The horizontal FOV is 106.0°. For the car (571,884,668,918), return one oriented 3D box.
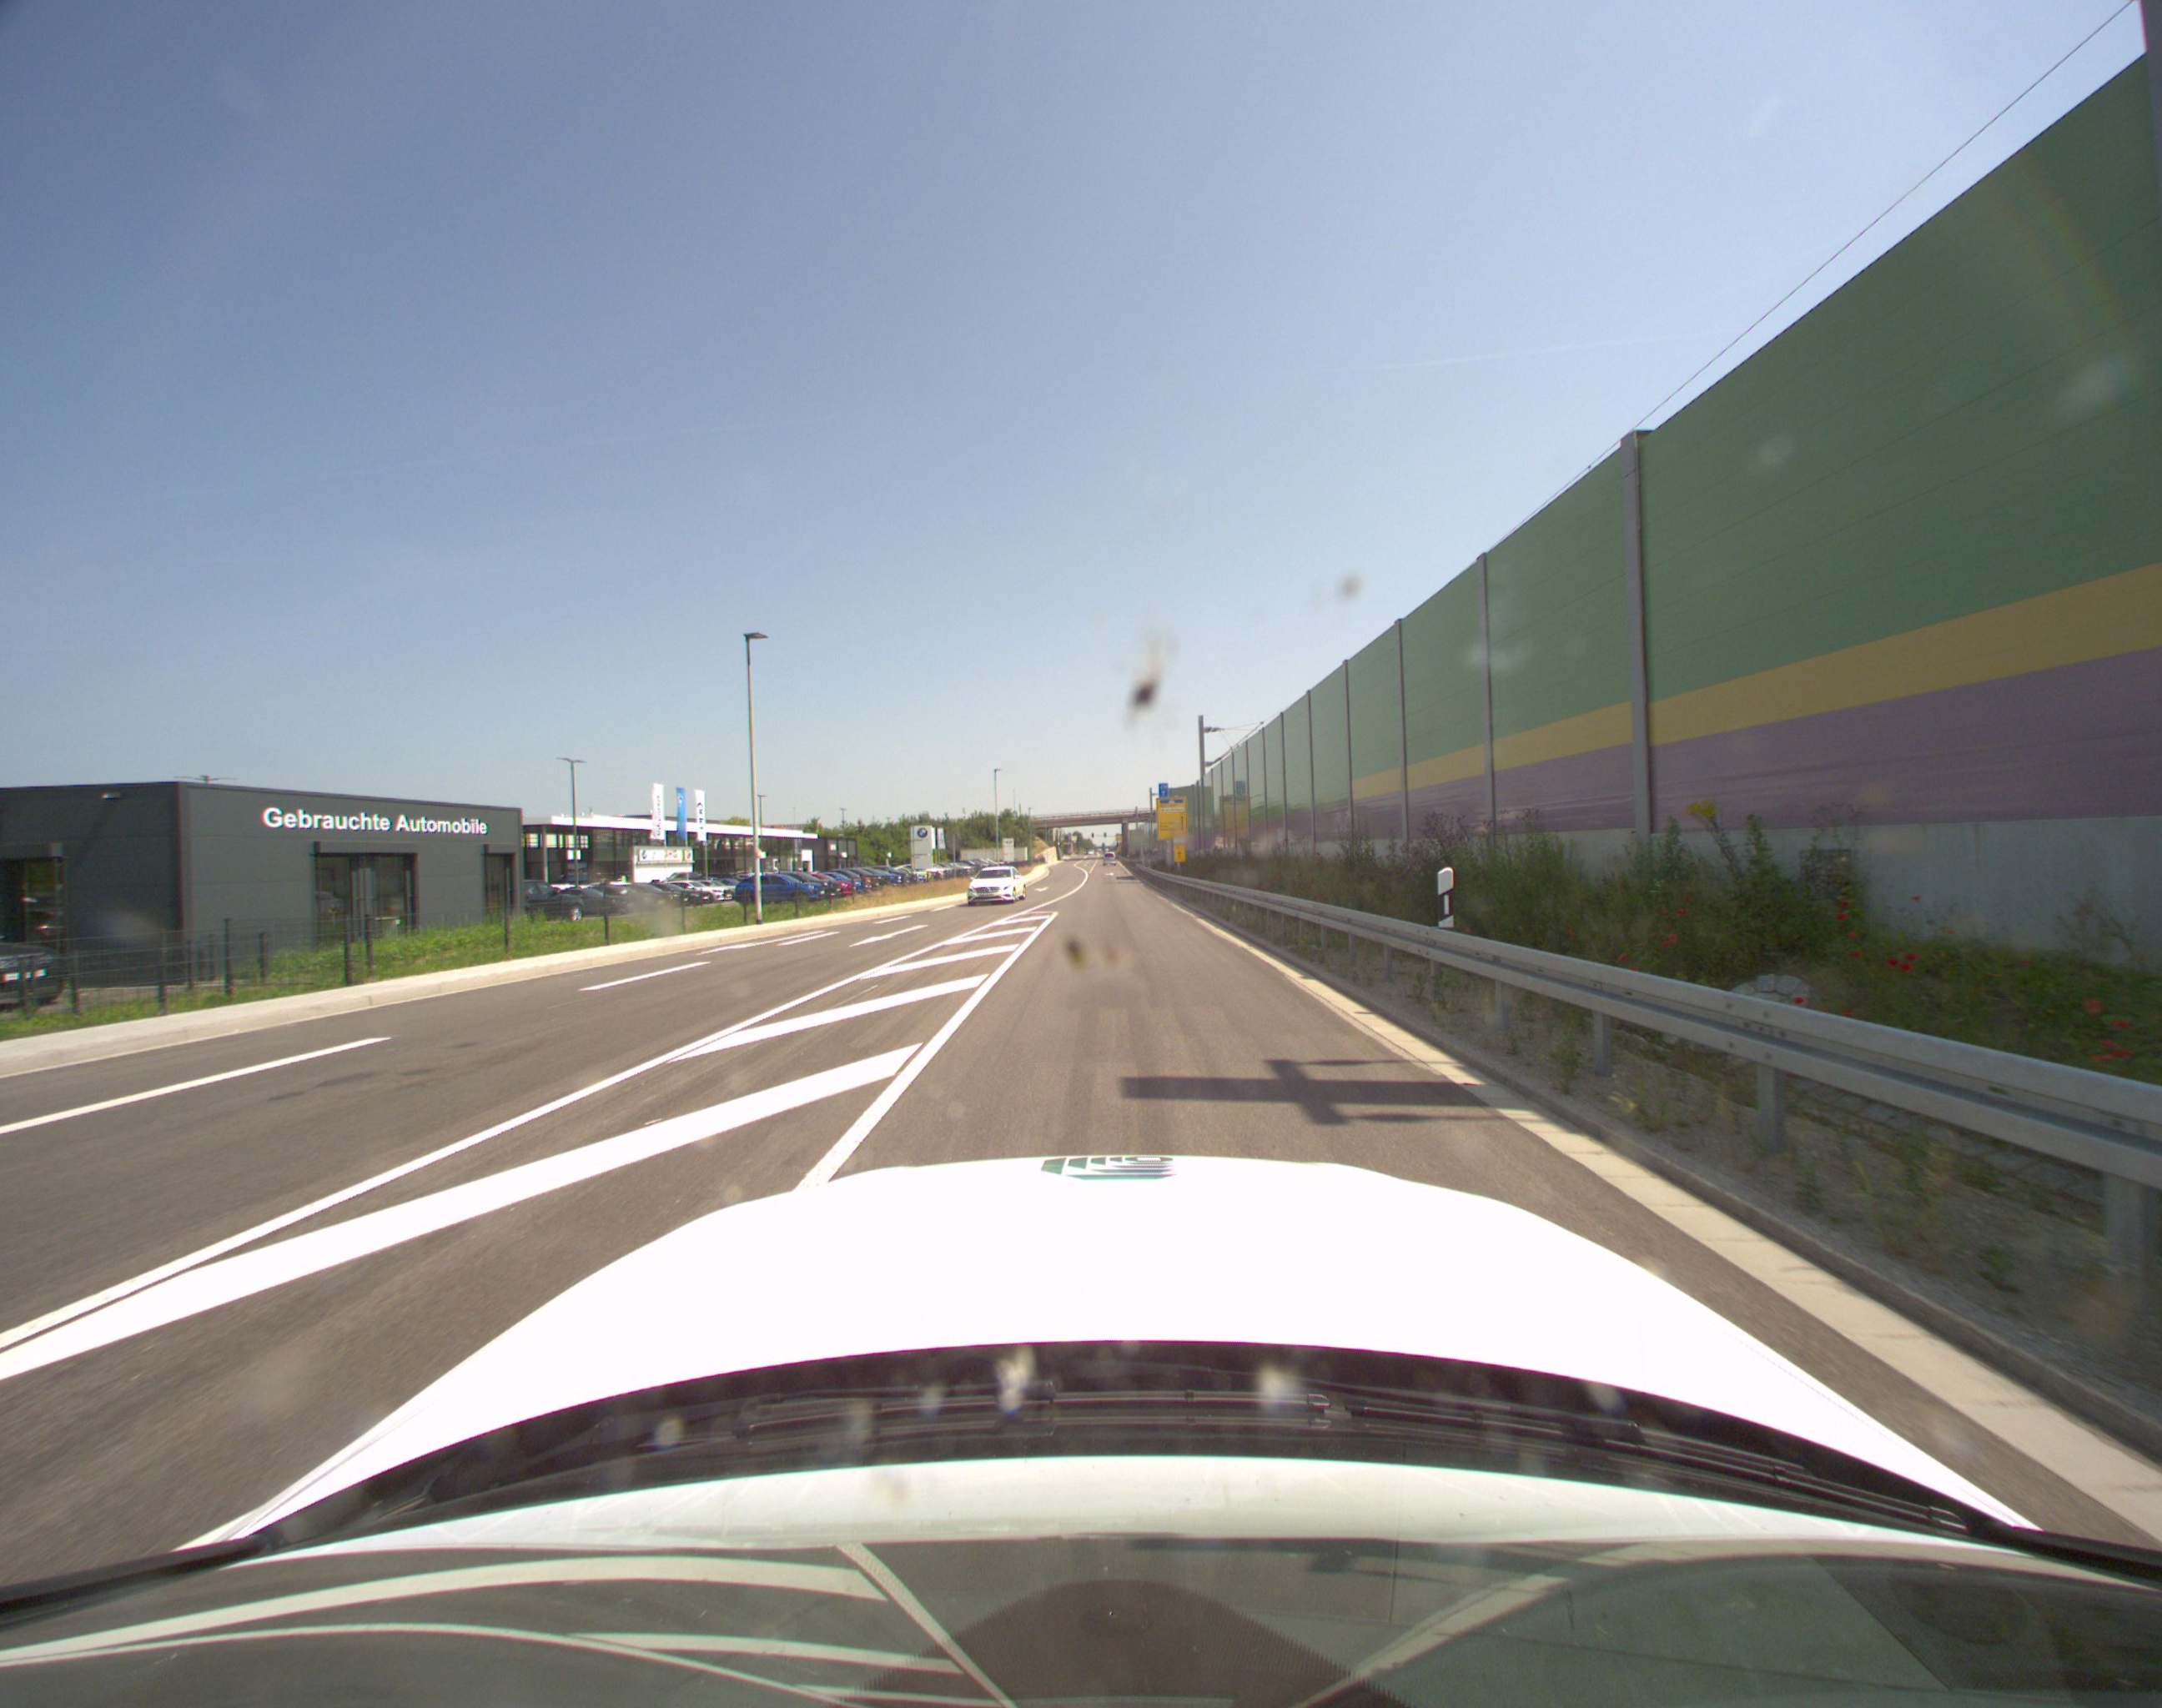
[{"bbox_3d":[-24.090,2.436,42.624,3.974,1.480,1.815,-3,1,-1],"label":"car"}]

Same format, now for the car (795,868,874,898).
[{"bbox_3d":[-14.348,1.671,47.607,3.974,1.445,1.786,-3,1,-1],"label":"car"}]

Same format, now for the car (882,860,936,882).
[{"bbox_3d":[-14.340,1.417,67.963,3.972,1.534,1.816,-3,1,1],"label":"car"}]

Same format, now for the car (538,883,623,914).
[{"bbox_3d":[-30.275,2.674,49.341,3.978,1.593,1.676,-3,1,-3],"label":"car"}]

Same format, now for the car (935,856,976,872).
[{"bbox_3d":[-13.762,1.123,89.427,4.148,1.545,1.816,-3,1,1],"label":"car"}]

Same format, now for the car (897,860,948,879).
[{"bbox_3d":[-14.252,1.345,73.449,4.148,1.466,1.816,-3,1,1],"label":"car"}]

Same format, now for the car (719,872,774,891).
[{"bbox_3d":[-30.135,2.457,73.399,4.148,1.466,1.816,-3,1,1],"label":"car"}]

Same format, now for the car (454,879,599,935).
[{"bbox_3d":[-20.054,1.859,29.771,1.948,1.738,4.751,-3,-1,0],"label":"car"}]

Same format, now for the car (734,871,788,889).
[{"bbox_3d":[-29.836,2.410,76.001,4.148,1.466,1.816,-3,1,1],"label":"car"}]

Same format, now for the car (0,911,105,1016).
[{"bbox_3d":[-20.098,1.967,14.051,4.136,1.631,1.822,-3,1,-1],"label":"car"}]

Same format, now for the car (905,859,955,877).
[{"bbox_3d":[-14.111,1.303,76.245,4.148,1.466,1.816,-3,1,1],"label":"car"}]

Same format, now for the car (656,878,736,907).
[{"bbox_3d":[-23.770,2.380,50.328,3.974,1.494,1.815,-3,1,-1],"label":"car"}]

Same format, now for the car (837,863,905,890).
[{"bbox_3d":[-14.221,1.509,55.266,3.974,1.534,1.971,-3,1,-1],"label":"car"}]

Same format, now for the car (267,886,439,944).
[{"bbox_3d":[-26.363,2.155,29.776,1.948,1.738,4.751,-3,-1,0],"label":"car"}]

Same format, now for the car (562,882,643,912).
[{"bbox_3d":[-30.372,2.722,51.748,3.974,1.586,1.815,-3,1,-1],"label":"car"}]

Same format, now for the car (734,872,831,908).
[{"bbox_3d":[-14.695,1.764,40.223,3.974,1.480,1.911,-3,1,-1],"label":"car"}]

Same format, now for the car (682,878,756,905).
[{"bbox_3d":[-23.704,2.436,53.384,3.974,1.494,1.815,-3,1,-1],"label":"car"}]

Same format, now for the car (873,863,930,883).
[{"bbox_3d":[-14.323,1.511,65.115,3.971,1.391,1.880,-3,1,2],"label":"car"}]

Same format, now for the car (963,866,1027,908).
[{"bbox_3d":[-3.295,1.245,31.998,1.773,1.416,4.053,-3,0,3],"label":"car"}]

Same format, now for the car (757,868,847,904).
[{"bbox_3d":[-14.589,1.651,42.704,3.974,1.636,1.815,-3,1,-1],"label":"car"}]

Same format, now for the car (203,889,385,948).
[{"bbox_3d":[-28.420,2.265,29.697,1.948,1.738,4.751,-3,-1,0],"label":"car"}]

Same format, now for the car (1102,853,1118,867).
[{"bbox_3d":[3.932,0.850,110.161,1.985,1.757,4.004,-2,0,3],"label":"car"}]

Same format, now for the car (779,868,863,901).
[{"bbox_3d":[-14.353,1.661,45.166,3.974,1.528,1.815,-3,1,-1],"label":"car"}]
